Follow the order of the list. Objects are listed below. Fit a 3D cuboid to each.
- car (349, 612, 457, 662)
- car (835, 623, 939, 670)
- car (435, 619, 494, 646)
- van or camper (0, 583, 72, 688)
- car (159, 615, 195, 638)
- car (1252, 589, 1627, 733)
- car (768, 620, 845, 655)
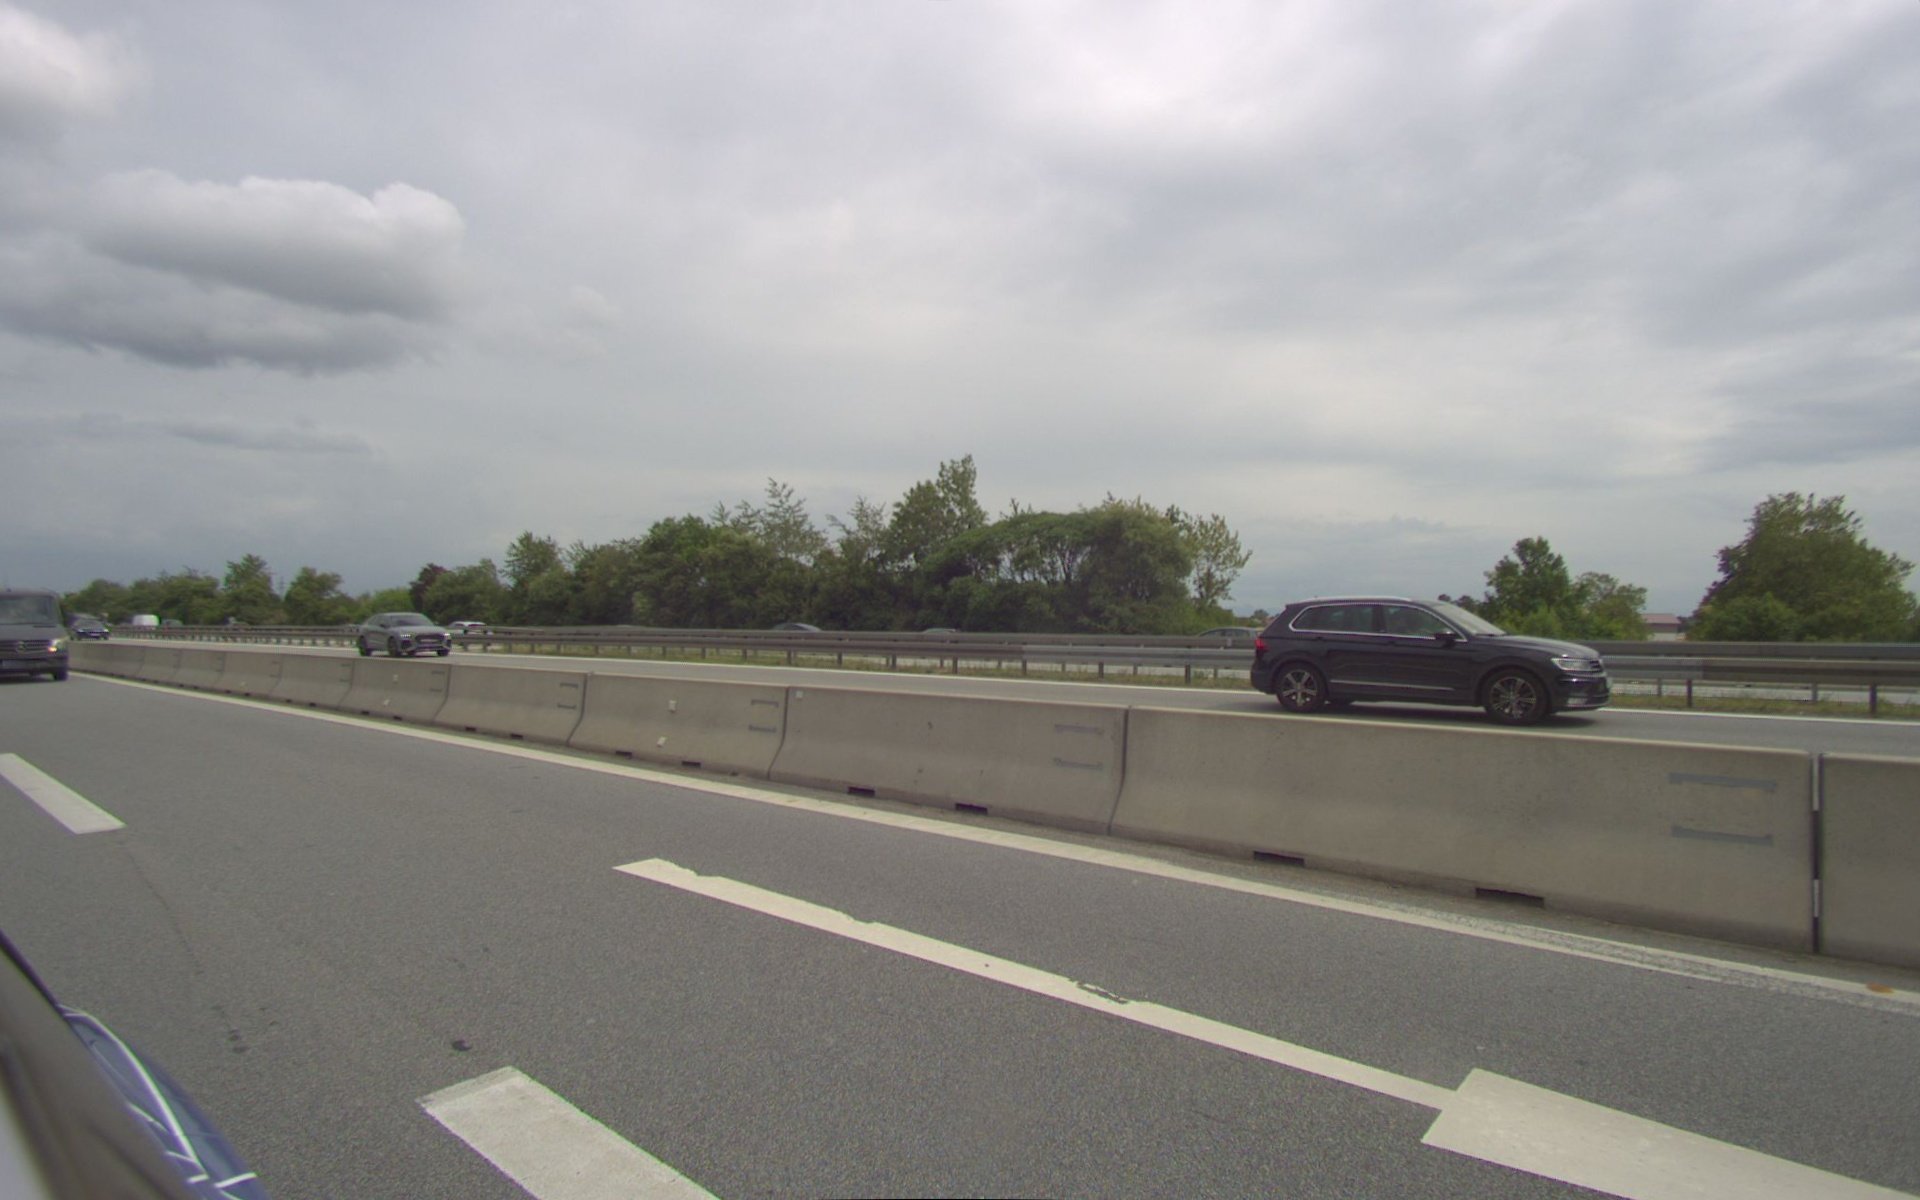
[{"bbox_3d":[-19.850,1.288,35.982,4.642,1.652,1.881,-1,-1,41],"label":"car"},{"bbox_3d":[-2.907,1.787,39.875,3.993,1.741,1.671,-1,-1,37],"label":"car"},{"bbox_3d":[-29.697,1.946,60.635,3.713,1.531,1.716,-1,-1,37],"label":"car"},{"bbox_3d":[-23.937,0.862,25.153,6.122,2.389,1.979,-1,-1,41],"label":"van or camper"},{"bbox_3d":[-70.231,2.394,90.775,4.000,1.985,1.972,-1,-1,43],"label":"car"},{"bbox_3d":[6.360,0.731,13.694,4.231,1.651,1.881,-1,-1,41],"label":"car"},{"bbox_3d":[-7.964,1.921,52.284,3.996,1.741,1.670,-1,-1,39],"label":"car"}]
